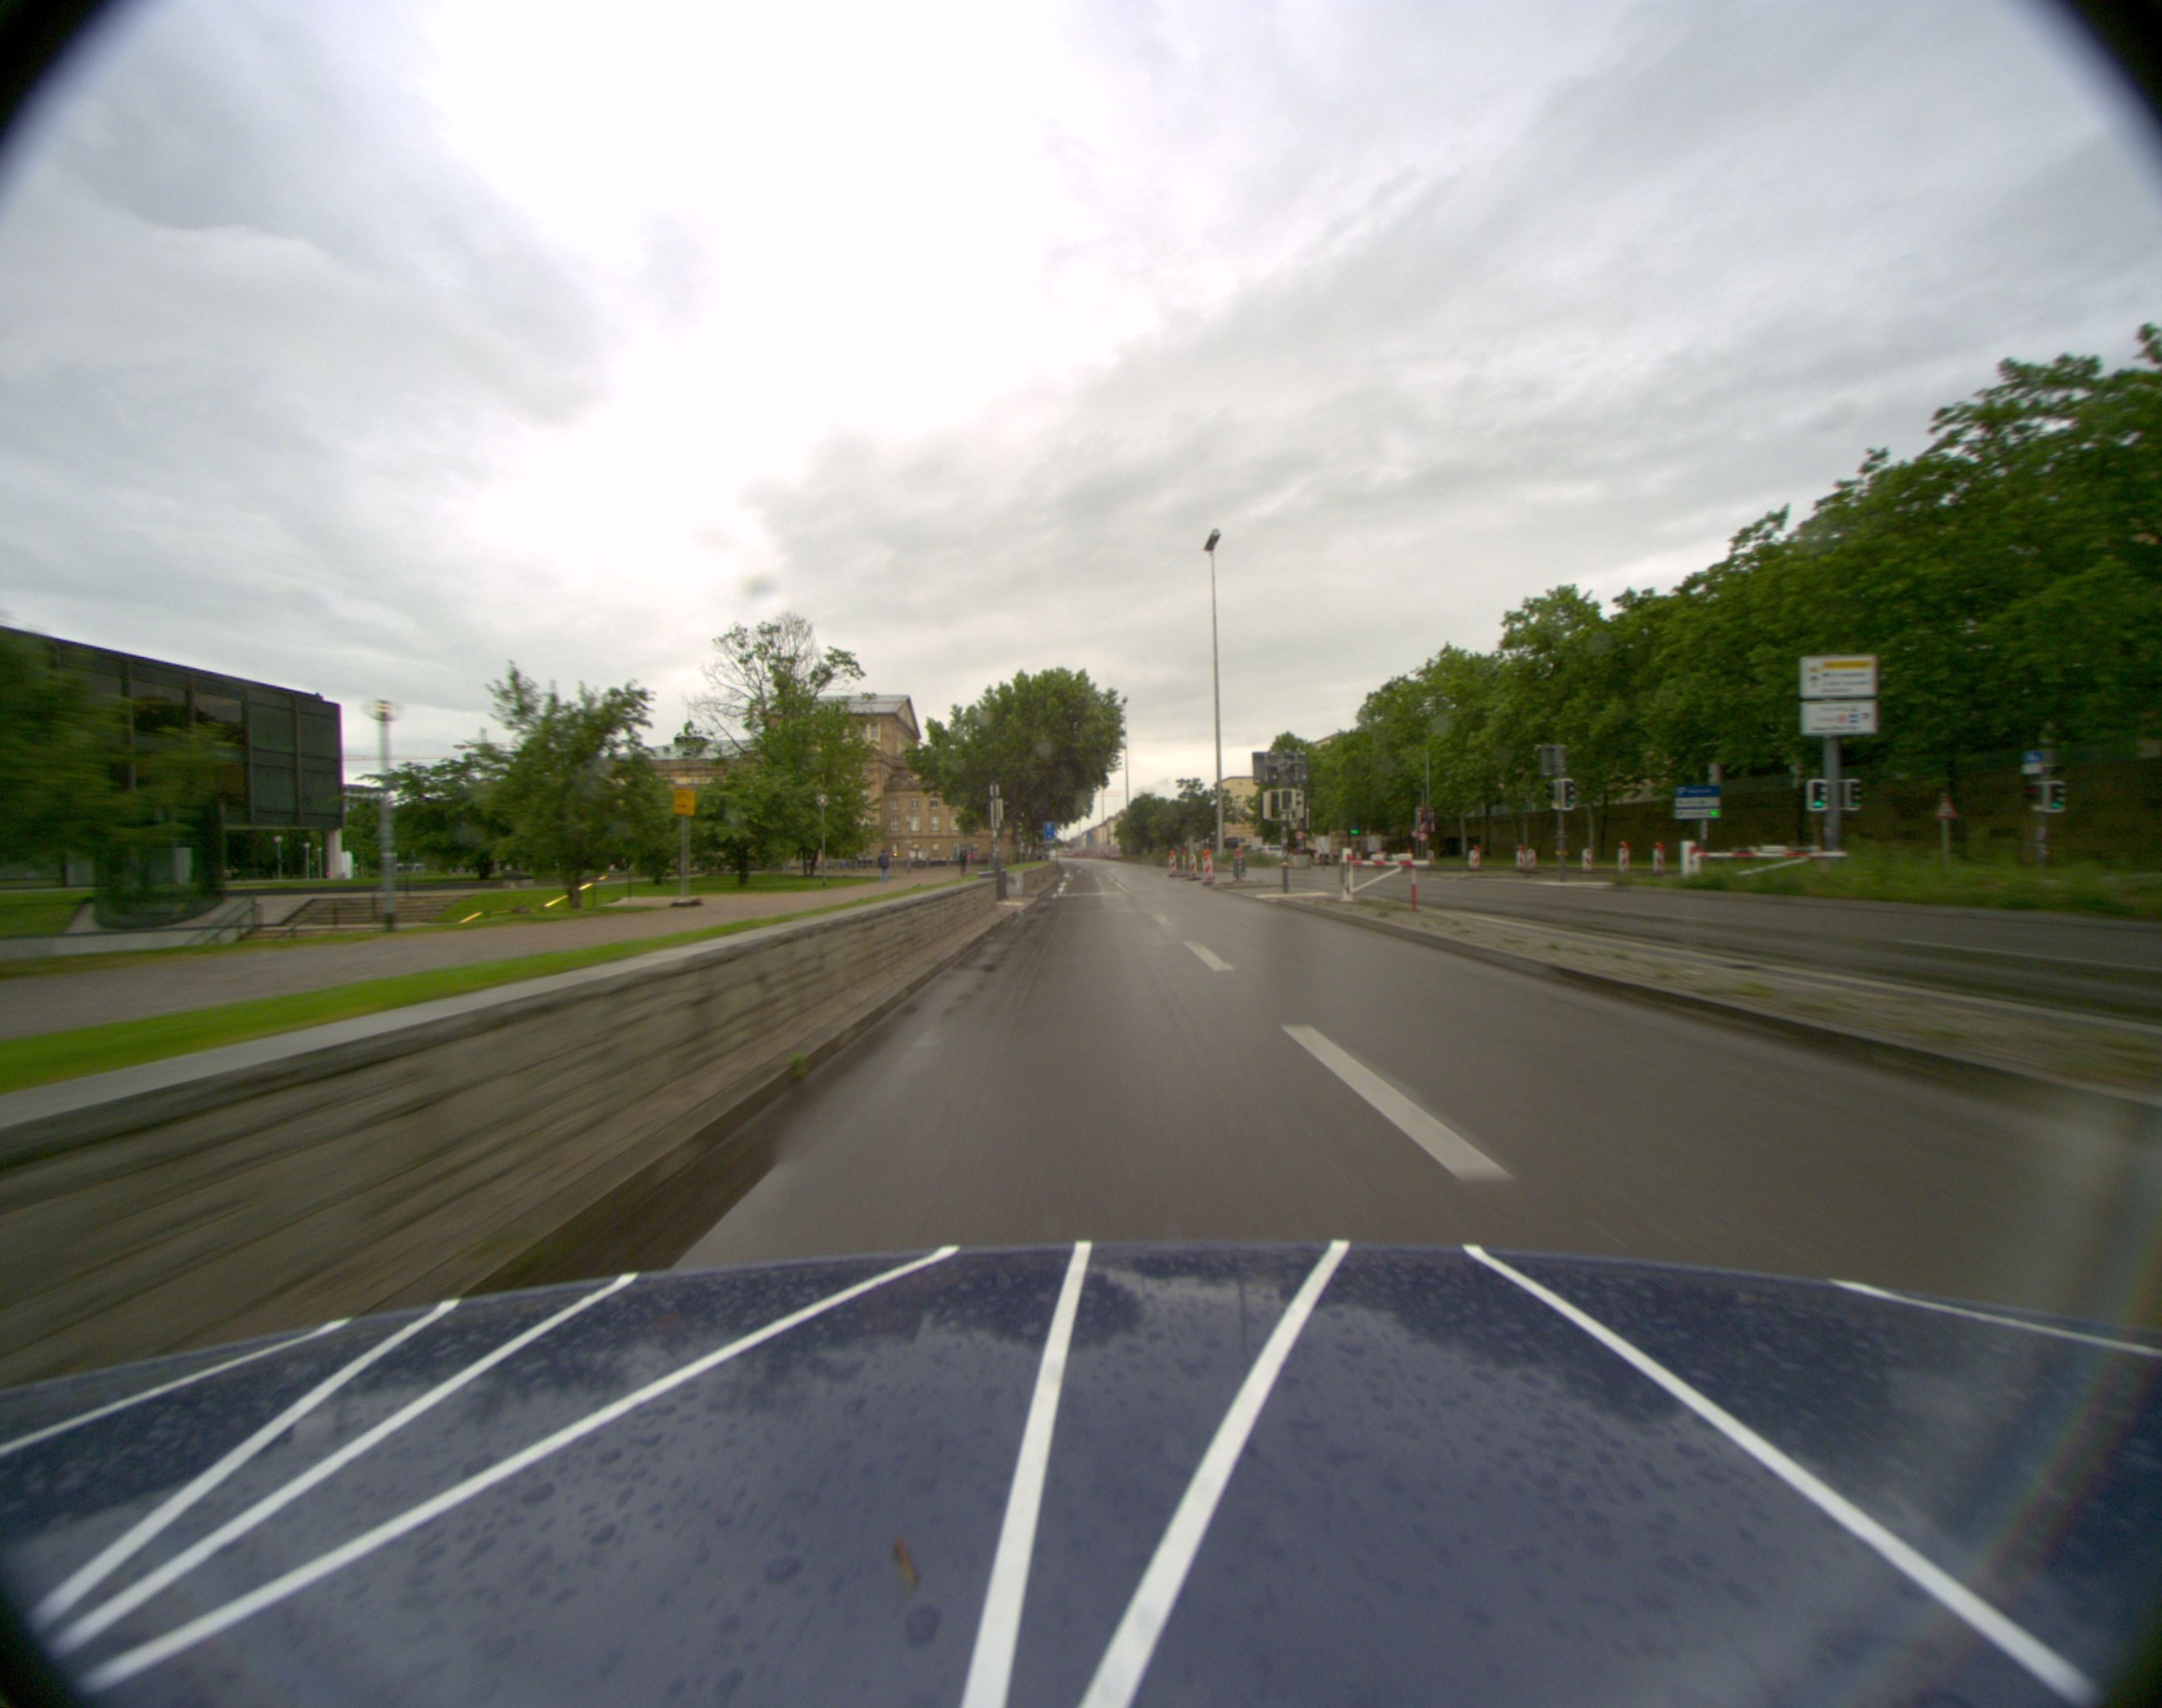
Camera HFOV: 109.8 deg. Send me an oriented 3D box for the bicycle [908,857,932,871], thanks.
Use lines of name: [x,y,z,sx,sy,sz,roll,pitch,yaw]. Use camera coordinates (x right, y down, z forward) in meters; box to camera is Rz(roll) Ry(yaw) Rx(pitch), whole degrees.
bicycle: [-12.902,0.810,60.791,1.758,1.059,0.827,-3,1,-21]

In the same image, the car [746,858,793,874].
car: [-34.077,1.307,83.297,4.296,1.584,1.956,-3,1,-3]

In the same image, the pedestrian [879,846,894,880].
pedestrian: [-9.540,0.447,37.190,0.671,1.655,0.587,-1,1,-17]

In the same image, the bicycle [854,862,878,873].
bicycle: [-16.163,0.997,57.146,1.627,0.791,0.509,-1,1,-21]

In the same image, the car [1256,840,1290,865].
car: [18.721,-0.169,74.416,1.999,2.286,4.227,-3,1,-3]

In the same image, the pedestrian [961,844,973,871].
pedestrian: [-7.607,0.223,50.705,0.594,1.764,0.587,-3,1,1]
